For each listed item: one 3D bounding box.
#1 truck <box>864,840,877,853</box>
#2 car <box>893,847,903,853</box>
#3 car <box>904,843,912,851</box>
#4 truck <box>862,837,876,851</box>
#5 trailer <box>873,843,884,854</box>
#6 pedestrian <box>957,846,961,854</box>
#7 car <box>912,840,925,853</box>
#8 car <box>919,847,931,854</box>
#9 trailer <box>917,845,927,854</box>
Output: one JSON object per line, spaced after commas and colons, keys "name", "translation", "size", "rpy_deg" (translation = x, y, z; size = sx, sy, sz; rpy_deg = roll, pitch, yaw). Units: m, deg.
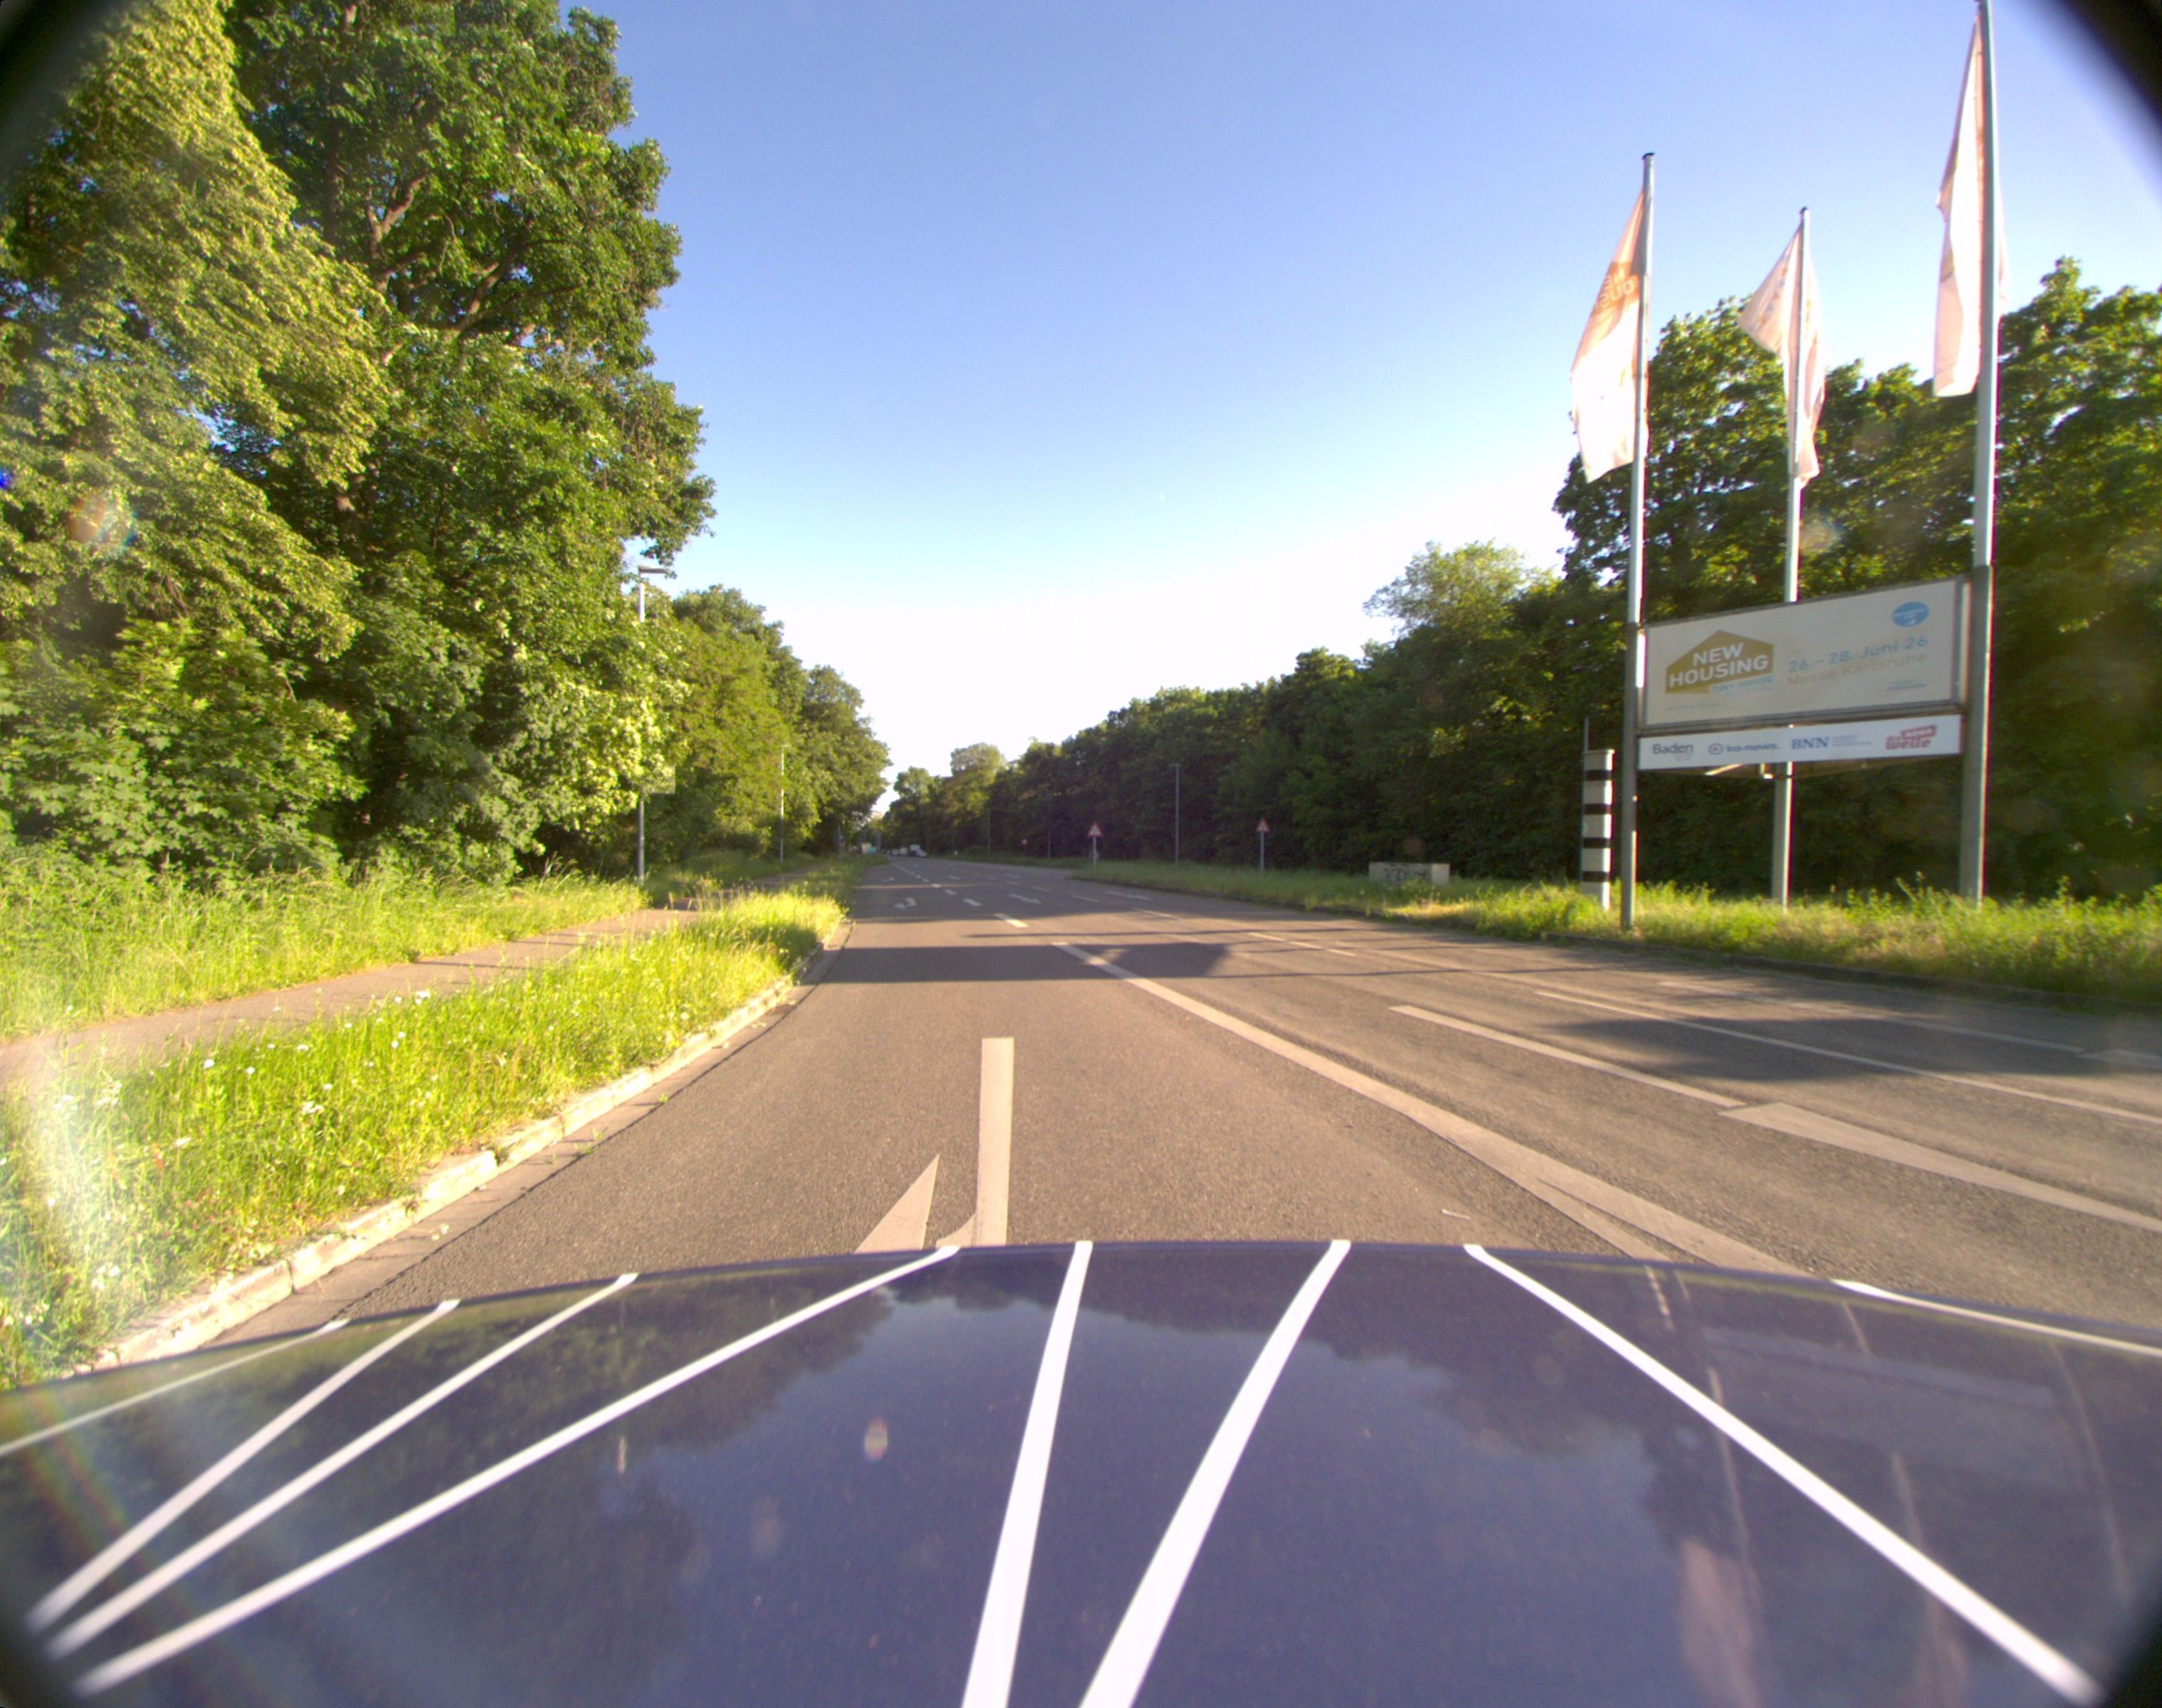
{"name": "truck", "translation": [-48.130, -1.726, 173.337], "size": [2.393, 2.856, 5.588], "rpy_deg": [-2, 2, -19]}
{"name": "car", "translation": [-45.094, -0.924, 186.997], "size": [1.836, 1.447, 4.472], "rpy_deg": [0, 1, -20]}
{"name": "car", "translation": [-48.172, -1.835, 211.130], "size": [1.694, 2.089, 4.624], "rpy_deg": [2, 1, -19]}
{"name": "truck", "translation": [-50.935, -2.338, 182.359], "size": [2.710, 3.218, 7.115], "rpy_deg": [2, 1, -19]}
{"name": "trailer", "translation": [-41.836, -1.210, 156.847], "size": [1.872, 2.165, 4.121], "rpy_deg": [-1, 2, -19]}
{"name": "pedestrian", "translation": [-24.035, -0.789, 149.665], "size": [0.714, 1.556, 0.825], "rpy_deg": [1, 1, -16]}
{"name": "car", "translation": [-38.734, -1.825, 180.803], "size": [2.464, 2.830, 4.790], "rpy_deg": [2, 1, -19]}
{"name": "car", "translation": [-33.738, -0.833, 164.250], "size": [1.918, 1.455, 4.004], "rpy_deg": [2, 1, -19]}
{"name": "trailer", "translation": [-35.383, -1.020, 168.976], "size": [1.809, 1.719, 3.641], "rpy_deg": [2, 1, -19]}
